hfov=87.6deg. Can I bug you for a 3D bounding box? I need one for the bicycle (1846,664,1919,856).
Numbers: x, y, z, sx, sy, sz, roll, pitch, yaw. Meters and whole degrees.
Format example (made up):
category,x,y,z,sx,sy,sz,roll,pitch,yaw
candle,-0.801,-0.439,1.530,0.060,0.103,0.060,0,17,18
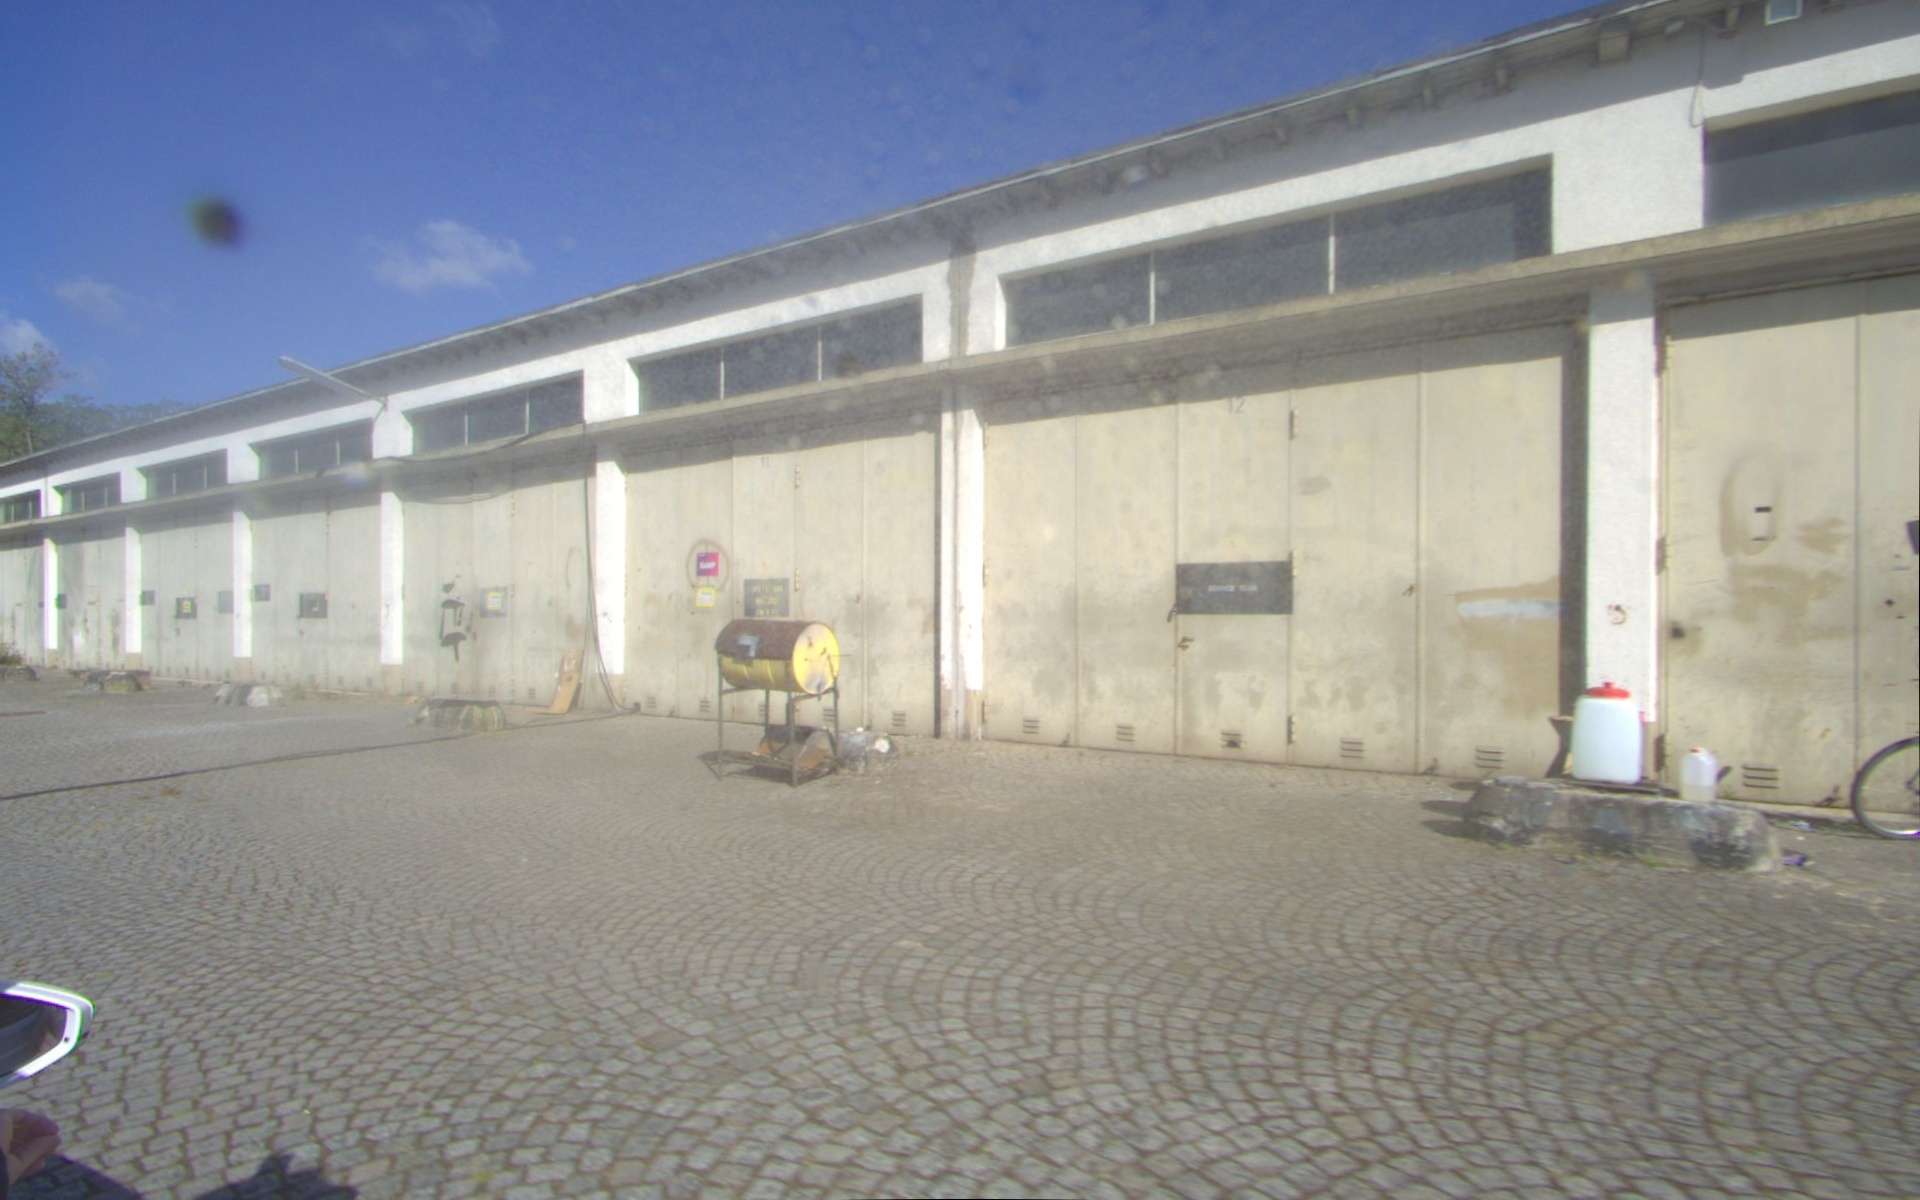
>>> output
category,x,y,z,sx,sy,sz,roll,pitch,yaw
bicycle,6.117,0.914,5.519,0.660,1.081,1.806,2,-3,-44
